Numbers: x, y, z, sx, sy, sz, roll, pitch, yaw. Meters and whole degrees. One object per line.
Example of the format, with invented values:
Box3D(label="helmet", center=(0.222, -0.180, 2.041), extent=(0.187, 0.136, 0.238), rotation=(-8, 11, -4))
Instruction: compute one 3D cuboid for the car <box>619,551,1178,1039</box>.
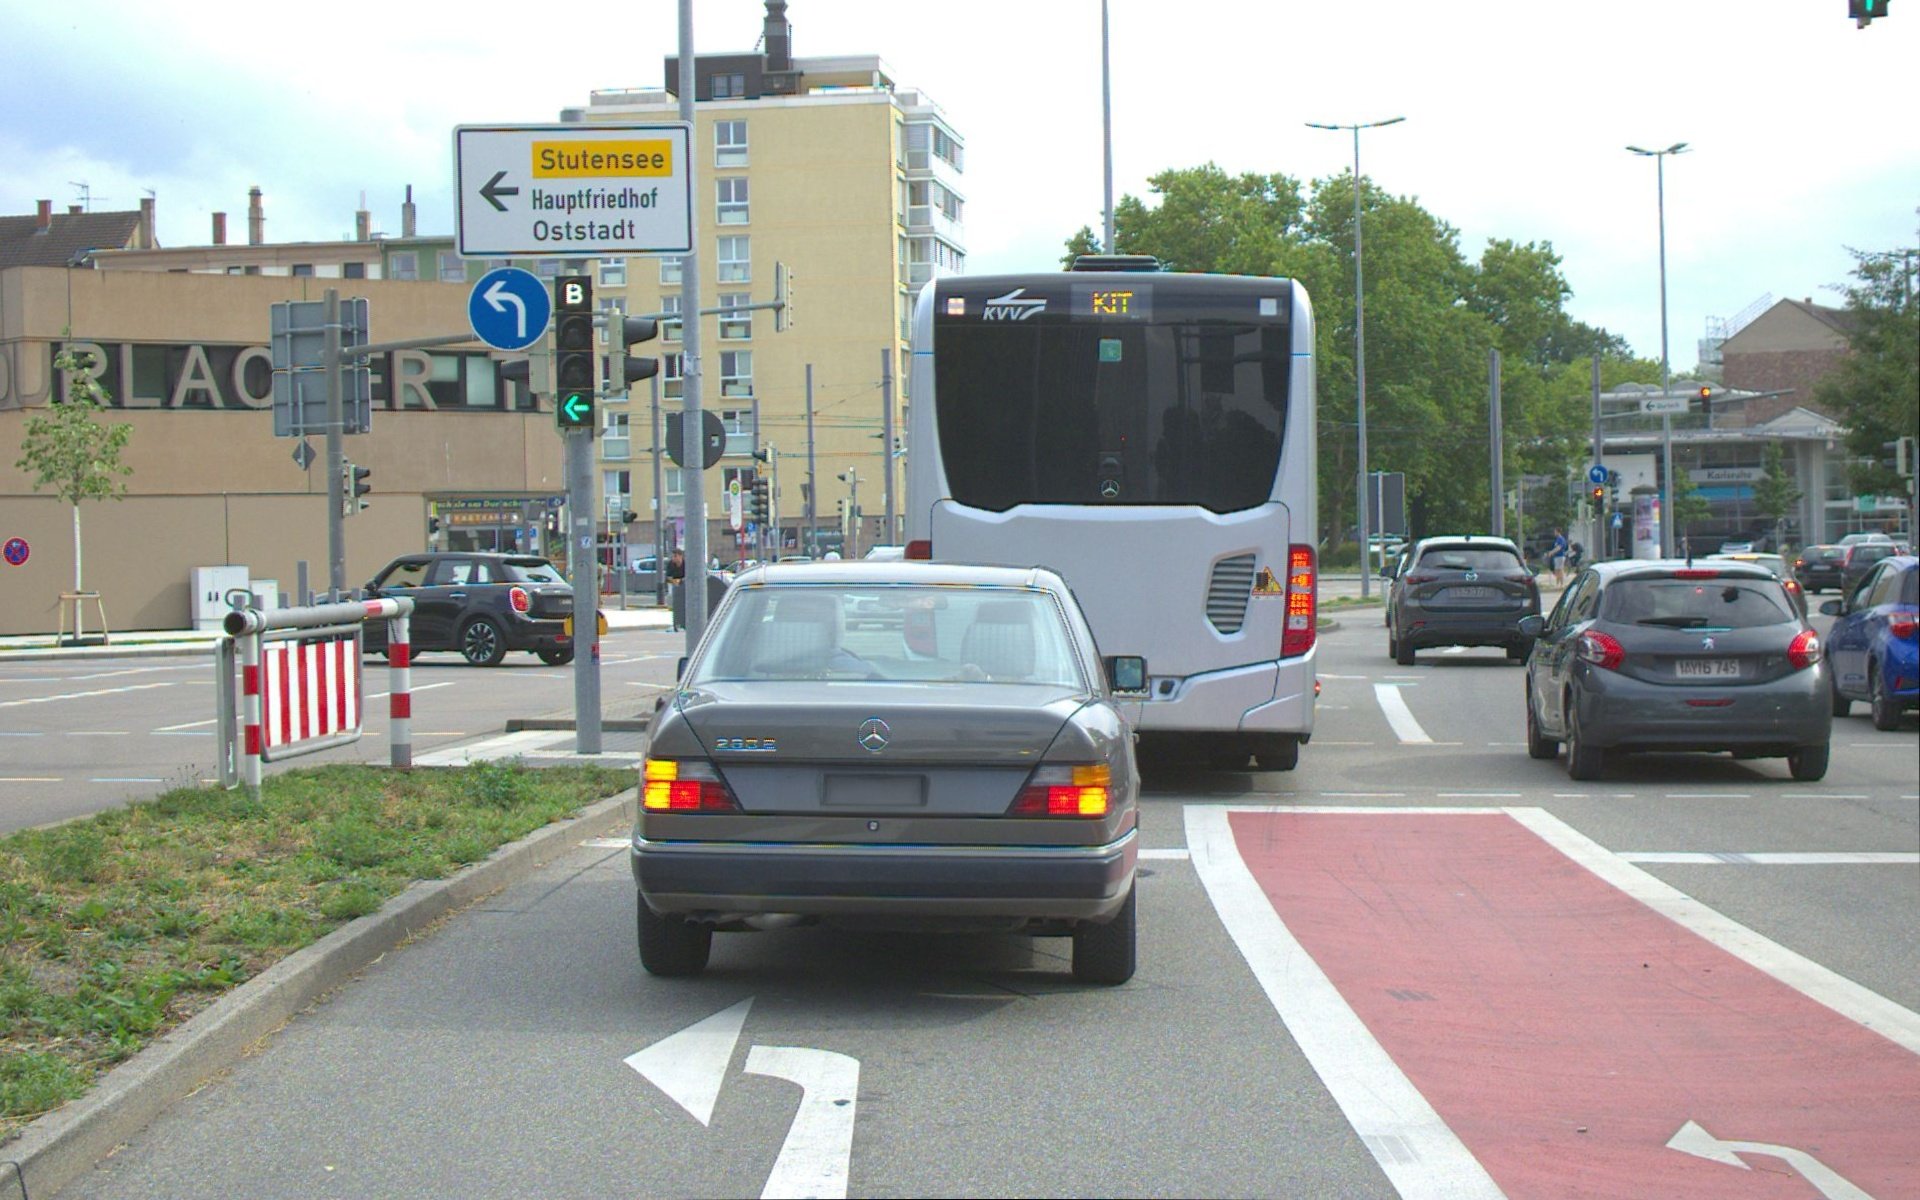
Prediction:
Box3D(label="car", center=(-0.214, 0.576, 12.746), extent=(1.695, 1.475, 4.416), rotation=(1, 1, -1))

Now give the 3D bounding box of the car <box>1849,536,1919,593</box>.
Box3D(label="car", center=(24.178, -0.916, 89.418), extent=(1.705, 1.415, 3.697), rotation=(1, 1, 19))

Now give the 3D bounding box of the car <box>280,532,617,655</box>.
Box3D(label="car", center=(-6.587, -0.100, 44.175), extent=(3.995, 1.481, 1.996), rotation=(1, 1, 35))

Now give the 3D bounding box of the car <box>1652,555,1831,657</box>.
Box3D(label="car", center=(11.534, 0.074, 50.553), extent=(2.134, 1.415, 3.697), rotation=(1, 1, 19))

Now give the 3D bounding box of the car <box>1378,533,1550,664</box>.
Box3D(label="car", center=(6.539, -0.037, 44.915), extent=(1.834, 1.609, 3.546), rotation=(1, 1, 2))

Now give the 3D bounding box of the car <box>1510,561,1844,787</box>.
Box3D(label="car", center=(4.879, 0.451, 23.869), extent=(1.711, 1.415, 4.000), rotation=(1, 1, 4))

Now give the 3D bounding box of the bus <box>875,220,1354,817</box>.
Box3D(label="bus", center=(1.525, -0.567, 27.394), extent=(2.705, 3.426, 14.181), rotation=(-2, 1, 5))

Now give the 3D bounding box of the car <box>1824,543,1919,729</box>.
Box3D(label="car", center=(8.686, 0.289, 30.247), extent=(1.859, 1.527, 4.000), rotation=(1, 1, 11))

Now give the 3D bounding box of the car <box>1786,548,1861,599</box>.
Box3D(label="car", center=(24.819, -0.748, 98.751), extent=(1.712, 1.415, 3.996), rotation=(1, 1, 19))

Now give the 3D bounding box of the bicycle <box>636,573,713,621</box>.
Box3D(label="bicycle", center=(-5.393, -0.064, 65.090), extent=(0.862, 0.873, 2.518), rotation=(1, 1, 9))

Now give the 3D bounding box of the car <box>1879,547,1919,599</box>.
Box3D(label="car", center=(26.755, -0.756, 96.203), extent=(1.705, 1.415, 3.697), rotation=(1, 1, 19))

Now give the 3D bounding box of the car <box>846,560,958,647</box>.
Box3D(label="car", center=(-1.121, 0.041, 68.328), extent=(1.993, 1.645, 4.290), rotation=(1, 1, 2))

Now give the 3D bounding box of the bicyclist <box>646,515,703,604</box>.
Box3D(label="bicyclist", center=(-5.391, -0.761, 64.892), extent=(0.867, 1.663, 0.881), rotation=(1, 0, 9))
